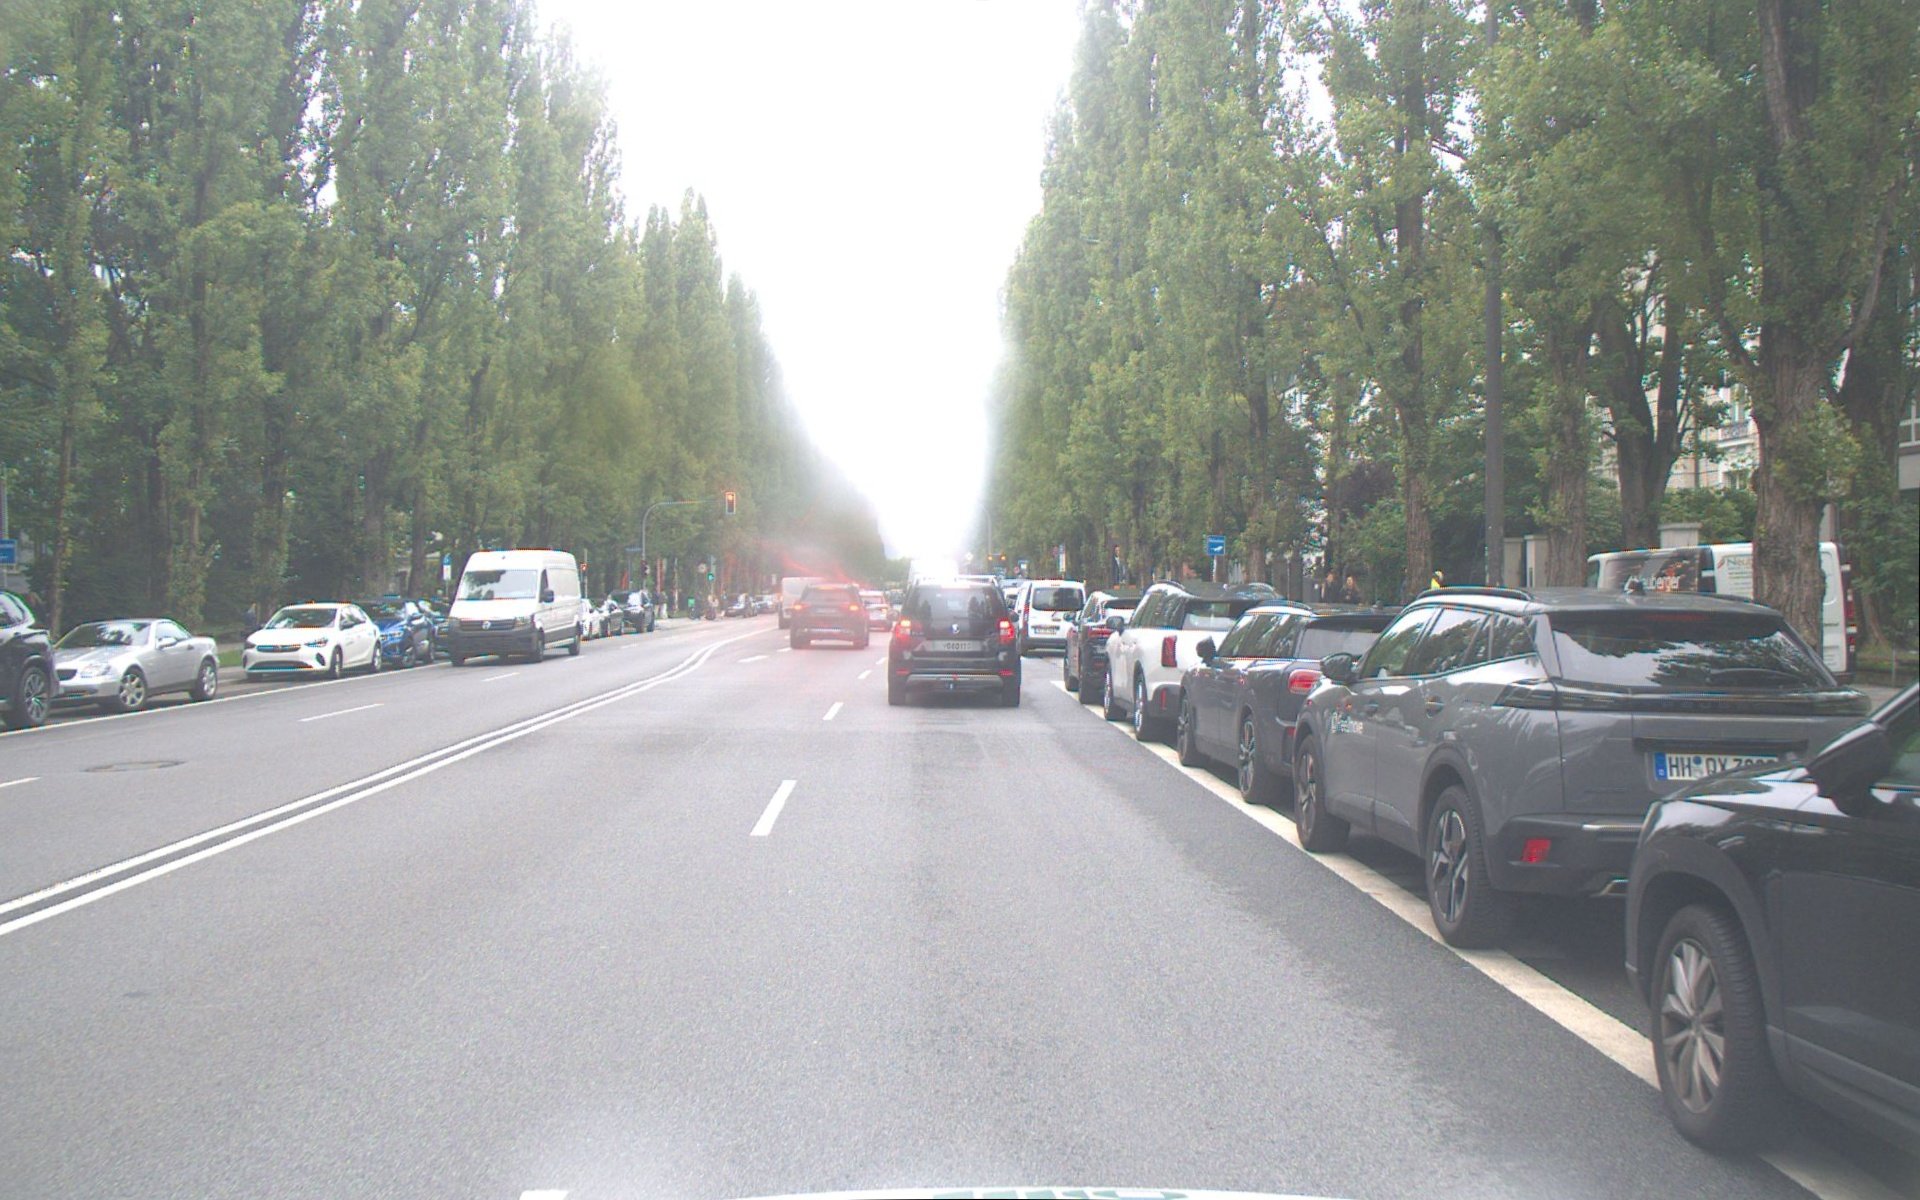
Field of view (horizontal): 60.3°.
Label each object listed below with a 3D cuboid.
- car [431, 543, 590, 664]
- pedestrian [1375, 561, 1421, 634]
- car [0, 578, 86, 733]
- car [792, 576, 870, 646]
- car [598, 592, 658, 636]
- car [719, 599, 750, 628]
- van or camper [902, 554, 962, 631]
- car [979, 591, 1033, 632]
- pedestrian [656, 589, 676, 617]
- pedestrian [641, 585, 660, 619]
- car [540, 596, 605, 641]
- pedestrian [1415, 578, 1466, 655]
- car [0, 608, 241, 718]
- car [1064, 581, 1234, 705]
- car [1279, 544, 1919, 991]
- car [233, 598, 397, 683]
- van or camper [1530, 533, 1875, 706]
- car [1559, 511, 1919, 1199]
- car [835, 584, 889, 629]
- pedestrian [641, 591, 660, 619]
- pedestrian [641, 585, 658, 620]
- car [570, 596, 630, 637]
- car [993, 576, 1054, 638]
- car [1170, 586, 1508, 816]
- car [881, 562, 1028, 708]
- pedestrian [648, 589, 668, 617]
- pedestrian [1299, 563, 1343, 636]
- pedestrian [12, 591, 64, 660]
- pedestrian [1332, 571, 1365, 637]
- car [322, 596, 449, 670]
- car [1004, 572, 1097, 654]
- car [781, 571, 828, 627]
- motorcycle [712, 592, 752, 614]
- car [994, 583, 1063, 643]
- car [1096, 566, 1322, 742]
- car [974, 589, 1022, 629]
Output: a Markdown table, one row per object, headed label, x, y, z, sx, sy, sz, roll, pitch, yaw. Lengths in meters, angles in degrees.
| label | x | y | z | sx | sy | sz | roll | pitch | yaw |
| --- | --- | --- | --- | --- | --- | --- | --- | --- | --- |
| car | -10.488 | 0.056 | 39.179 | 2.184 | 2.526 | 6.754 | -2 | 0 | -3 |
| pedestrian | 11.088 | -0.073 | 41.913 | 0.787 | 1.813 | 0.817 | -1 | 0 | -19 |
| car | -12.120 | 0.695 | 18.790 | 1.902 | 1.798 | 4.893 | -3 | 1 | -3 |
| car | -3.315 | 0.253 | 43.161 | 1.745 | 1.648 | 4.024 | 3 | 1 | -2 |
| car | -13.901 | 0.555 | 69.514 | 1.813 | 1.683 | 4.692 | -3 | 1 | -4 |
| car | -14.956 | 0.891 | 109.857 | 1.654 | 1.814 | 3.774 | 0 | 1 | -1 |
| van or camper | -1.025 | -0.280 | 57.839 | 1.936 | 2.593 | 4.022 | -1 | 1 | -3 |
| car | 1.613 | 0.389 | 59.024 | 1.700 | 1.411 | 3.561 | 0 | 1 | -2 |
| pedestrian | -17.829 | 0.186 | 100.184 | 0.874 | 1.684 | 0.865 | -1 | 0 | -39 |
| pedestrian | -18.403 | 0.113 | 98.381 | 0.867 | 2.049 | 1.013 | -1 | 0 | 1 |
| car | -13.546 | 0.620 | 58.017 | 1.592 | 1.413 | 4.163 | -3 | 1 | -5 |
| pedestrian | 11.804 | 0.388 | 40.660 | 0.889 | 1.831 | 0.825 | -1 | 3 | -23 |
| car | -12.378 | 0.864 | 24.347 | 1.790 | 1.357 | 4.232 | -3 | 0 | -2 |
| car | 2.578 | 0.529 | 23.548 | 1.842 | 1.567 | 4.463 | 0 | 1 | -1 |
| car | 3.017 | 0.590 | 8.476 | 1.748 | 1.646 | 4.636 | 0 | 1 | -2 |
| car | -12.824 | 0.756 | 33.155 | 1.735 | 1.477 | 4.231 | -3 | 0 | -3 |
| van or camper | 9.449 | 0.199 | 21.667 | 2.034 | 1.967 | 5.367 | 1 | 1 | -1 |
| car | 3.001 | 0.640 | 3.361 | 1.749 | 1.677 | 4.415 | 0 | 1 | -4 |
| car | -3.647 | 0.216 | 62.314 | 1.953 | 1.588 | 3.998 | -1 | 1 | -2 |
| pedestrian | -19.031 | 0.302 | 101.763 | 0.874 | 1.684 | 0.865 | -1 | 0 | -39 |
| pedestrian | -14.266 | 0.125 | 75.986 | 0.647 | 1.605 | 0.530 | -1 | 0 | -1 |
| car | -13.797 | 0.605 | 63.567 | 1.591 | 1.413 | 4.164 | -3 | 1 | -4 |
| car | 1.998 | 0.190 | 53.164 | 1.700 | 1.928 | 4.024 | 0 | 1 | -2 |
| car | 2.876 | 0.675 | 13.501 | 1.668 | 1.546 | 4.294 | 0 | 1 | -2 |
| car | -0.114 | 0.426 | 22.946 | 1.818 | 1.800 | 3.999 | 2 | 0 | -1 |
| pedestrian | -18.398 | 0.181 | 100.860 | 0.874 | 1.684 | 0.865 | -1 | 0 | -39 |
| pedestrian | 8.868 | -0.008 | 40.667 | 0.836 | 1.747 | 0.867 | -2 | 0 | -2 |
| pedestrian | -22.225 | 0.605 | 39.874 | 0.722 | 1.627 | 0.881 | 1 | 0 | -1 |
| pedestrian | 9.588 | 0.088 | 40.813 | 0.556 | 1.606 | 0.867 | -1 | 0 | -2 |
| car | -12.855 | 0.695 | 37.231 | 1.675 | 1.476 | 3.584 | -3 | 1 | -3 |
| car | 2.174 | 0.277 | 40.684 | 1.814 | 1.914 | 4.165 | 0 | 1 | -4 |
| car | -6.073 | -0.061 | 65.008 | 1.746 | 2.148 | 4.021 | 0 | 0 | -4 |
| motorcycle | -14.004 | 0.185 | 101.564 | 2.315 | 1.292 | 0.930 | 0 | 0 | -1 |
| car | 1.922 | 0.339 | 47.718 | 1.706 | 1.620 | 4.210 | 0 | 1 | -1 |
| car | 2.623 | 0.496 | 18.426 | 1.707 | 1.705 | 4.578 | 0 | 1 | -2 |
| car | 1.458 | 0.327 | 64.527 | 1.700 | 1.501 | 3.561 | 0 | 1 | -2 |
